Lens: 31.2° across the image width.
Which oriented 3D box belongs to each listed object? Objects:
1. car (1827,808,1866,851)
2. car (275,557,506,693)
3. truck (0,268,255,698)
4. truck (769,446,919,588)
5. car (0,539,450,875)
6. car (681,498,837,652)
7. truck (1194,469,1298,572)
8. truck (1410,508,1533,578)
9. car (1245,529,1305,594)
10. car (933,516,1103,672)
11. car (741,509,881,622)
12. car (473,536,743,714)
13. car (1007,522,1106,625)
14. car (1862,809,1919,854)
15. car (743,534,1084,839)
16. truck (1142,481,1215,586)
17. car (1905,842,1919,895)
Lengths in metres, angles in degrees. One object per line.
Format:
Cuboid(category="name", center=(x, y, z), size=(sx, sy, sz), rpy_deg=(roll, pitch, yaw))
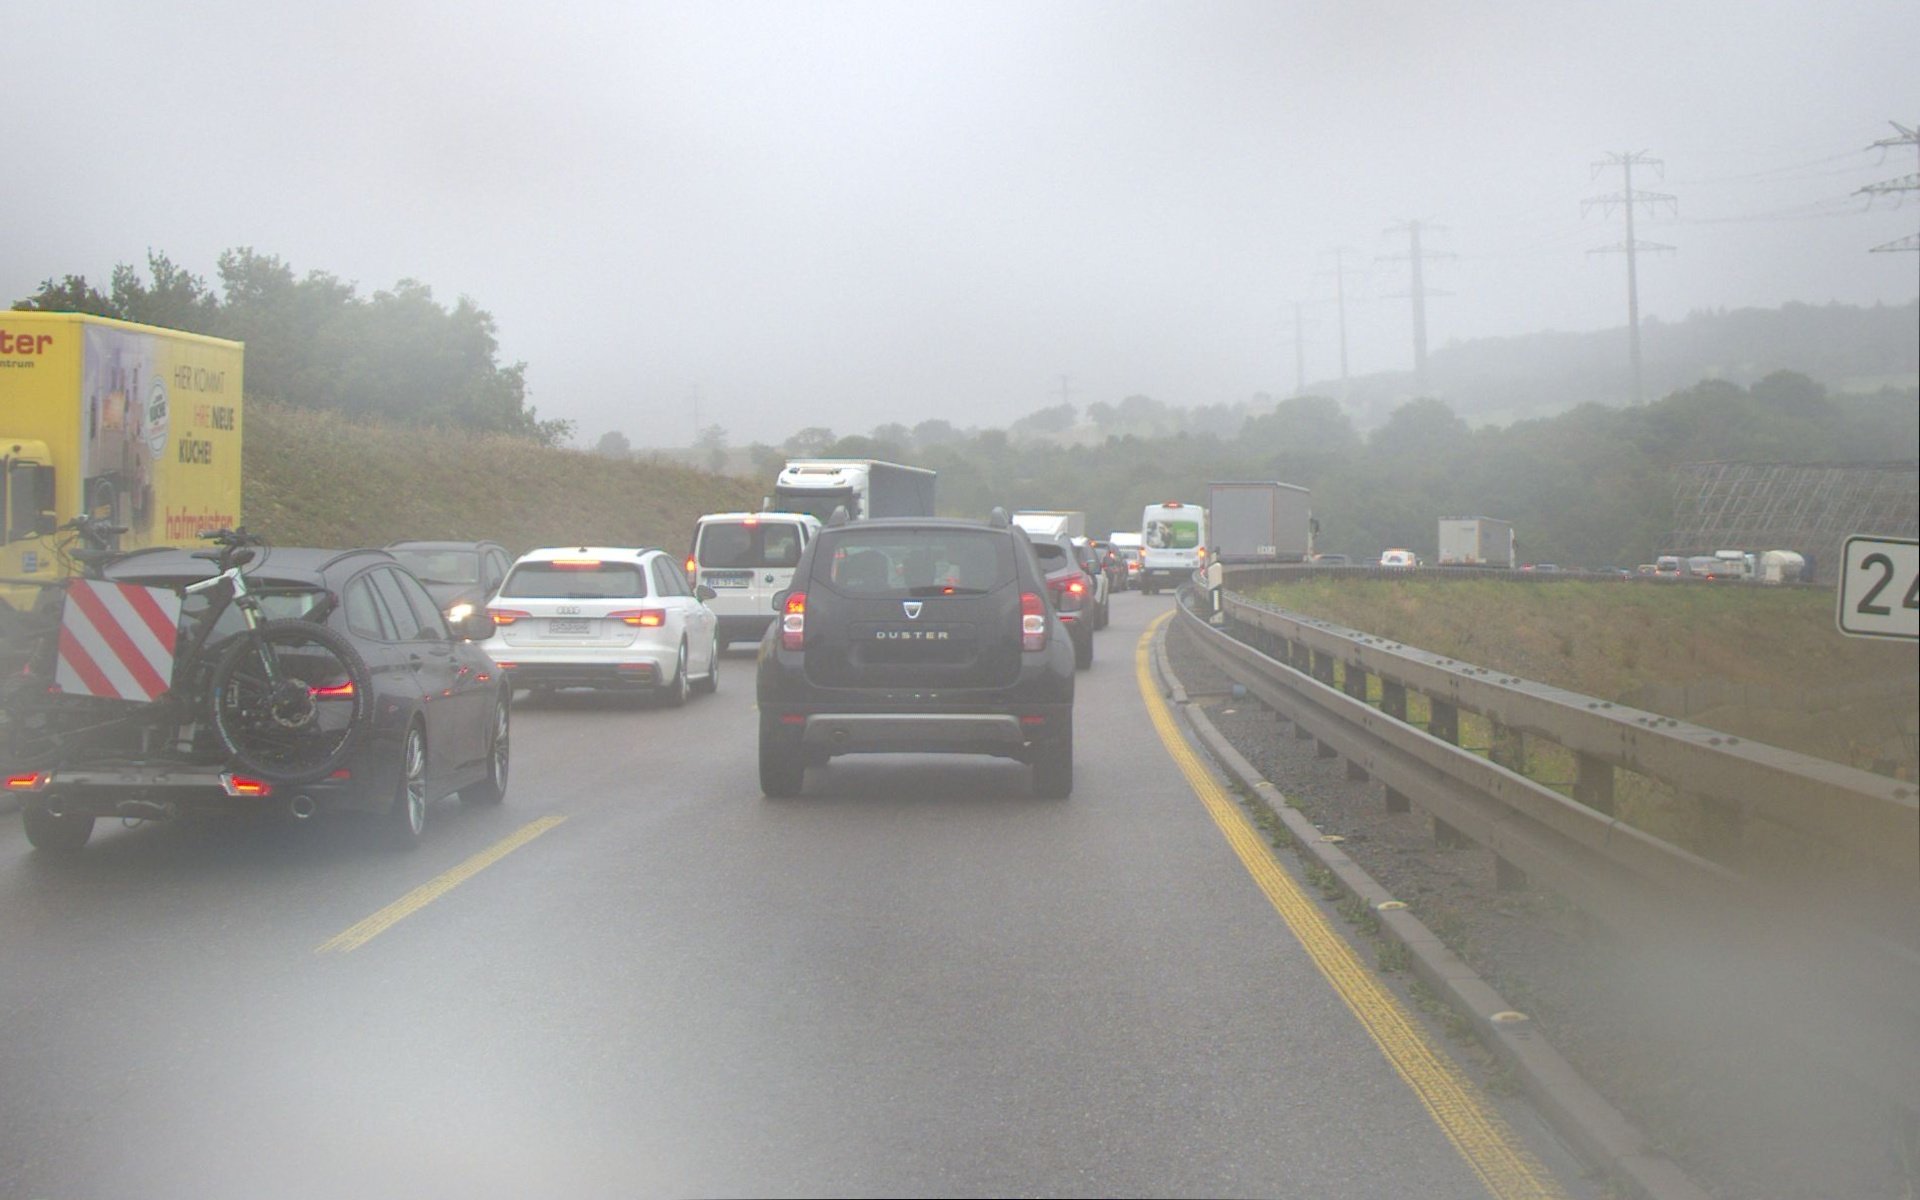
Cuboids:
Cuboid(category="car", center=(49.749, 12.837, 192.839), size=(1.995, 2.007, 3.997), rpy_deg=(2, 1, 15))
Cuboid(category="car", center=(-6.434, 0.243, 39.262), size=(1.867, 1.401, 4.115), rpy_deg=(1, 1, 1))
Cuboid(category="truck", center=(-9.857, -1.179, 36.109), size=(2.768, 3.983, 8.422), rpy_deg=(1, 1, 3))
Cuboid(category="truck", center=(-3.482, -2.572, 107.798), size=(2.933, 4.083, 14.389), rpy_deg=(1, 1, 5))
Cuboid(category="car", center=(-3.799, 0.438, 17.027), size=(1.829, 1.471, 3.776), rpy_deg=(0, 1, 3))
Cuboid(category="car", center=(-2.567, -0.347, 44.646), size=(1.660, 1.873, 4.020), rpy_deg=(1, 1, 1))
Cuboid(category="truck", center=(11.067, -3.033, 132.478), size=(3.202, 3.748, 8.506), rpy_deg=(2, 1, 10))
Cuboid(category="truck", center=(32.501, -3.585, 217.661), size=(4.722, 4.135, 15.667), rpy_deg=(2, 1, 19))
Cuboid(category="car", center=(9.746, -1.203, 106.165), size=(1.775, 1.909, 3.999), rpy_deg=(1, 1, 6))
Cuboid(category="car", center=(0.686, -0.104, 40.372), size=(1.867, 1.702, 4.000), rpy_deg=(1, 1, 1))
Cuboid(category="car", center=(-2.333, -0.569, 54.714), size=(1.868, 1.702, 4.091), rpy_deg=(1, 1, 2))
Cuboid(category="car", center=(-3.120, 0.172, 31.325), size=(1.867, 1.455, 4.548), rpy_deg=(1, 1, 1))
Cuboid(category="car", center=(1.596, -0.467, 57.866), size=(1.530, 1.635, 4.013), rpy_deg=(1, 1, 0))
Cuboid(category="car", center=(44.799, 11.123, 165.394), size=(1.994, 1.809, 3.999), rpy_deg=(1, 1, 4))
Cuboid(category="car", center=(-0.187, 0.438, 20.484), size=(1.804, 1.640, 3.776), rpy_deg=(0, 1, 3))
Cuboid(category="truck", center=(6.854, -2.077, 107.765), size=(2.149, 3.155, 6.459), rpy_deg=(1, 1, 4))
Cuboid(category="car", center=(42.350, 11.651, 147.970), size=(2.365, 2.007, 4.000), rpy_deg=(1, 1, 2))
